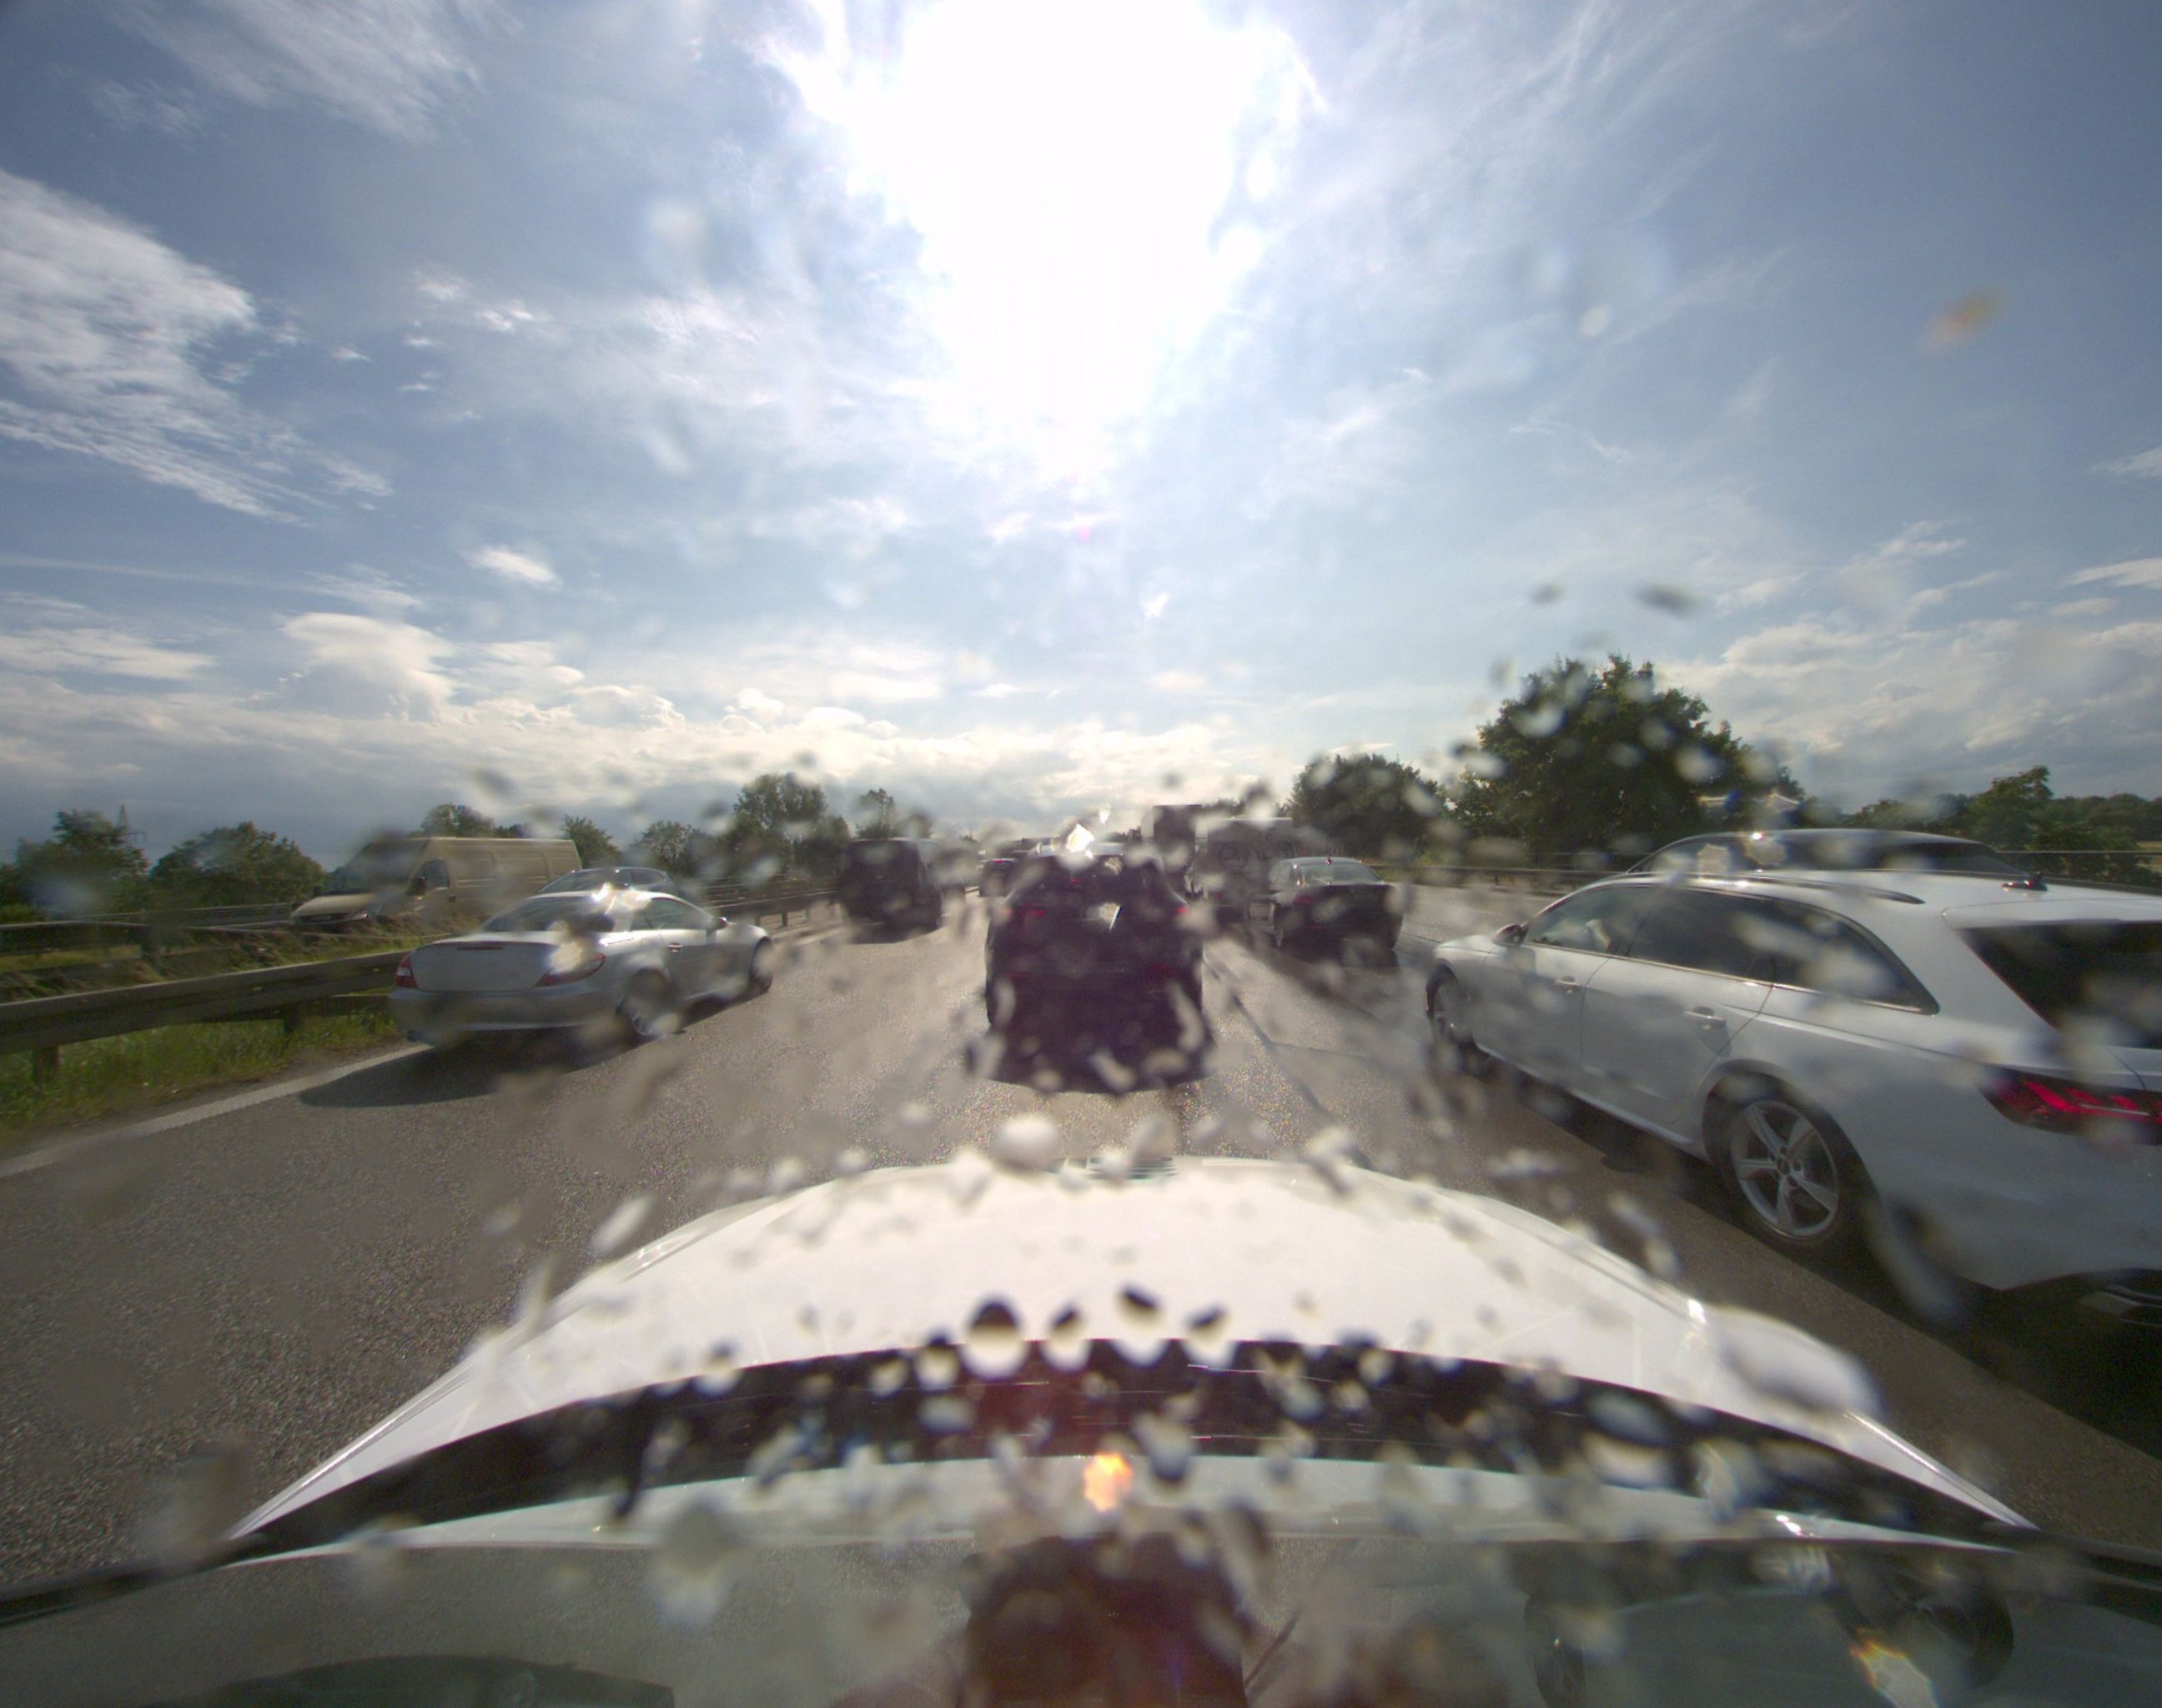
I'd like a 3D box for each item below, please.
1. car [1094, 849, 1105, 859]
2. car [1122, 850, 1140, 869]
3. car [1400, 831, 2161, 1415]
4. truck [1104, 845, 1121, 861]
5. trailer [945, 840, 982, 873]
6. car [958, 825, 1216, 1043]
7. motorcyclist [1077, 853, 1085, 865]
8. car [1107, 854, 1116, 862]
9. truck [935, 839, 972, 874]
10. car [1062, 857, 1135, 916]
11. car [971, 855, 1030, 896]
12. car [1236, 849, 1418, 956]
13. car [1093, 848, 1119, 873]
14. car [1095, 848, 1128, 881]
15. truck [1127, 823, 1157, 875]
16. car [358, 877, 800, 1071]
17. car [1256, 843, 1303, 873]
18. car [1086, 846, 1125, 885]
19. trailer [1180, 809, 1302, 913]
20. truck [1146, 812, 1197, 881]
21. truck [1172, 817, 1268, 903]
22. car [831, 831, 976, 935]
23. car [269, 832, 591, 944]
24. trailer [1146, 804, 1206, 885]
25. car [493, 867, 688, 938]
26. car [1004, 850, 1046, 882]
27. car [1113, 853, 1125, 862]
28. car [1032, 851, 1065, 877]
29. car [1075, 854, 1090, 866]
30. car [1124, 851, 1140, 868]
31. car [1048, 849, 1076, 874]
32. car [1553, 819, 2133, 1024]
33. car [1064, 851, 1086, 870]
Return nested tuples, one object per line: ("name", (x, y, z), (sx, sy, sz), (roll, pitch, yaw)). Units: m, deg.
("car", (3.408, 0.052, 152.938), (1.870, 1.760, 3.998), (-1, 0, -1))
("car", (5.505, 0.632, 90.061), (1.985, 2.013, 4.003), (0, 0, 3))
("car", (3.473, 0.732, 4.282), (1.821, 1.425, 4.509), (1, -2, 0))
("truck", (8.574, -0.236, 222.477), (3.833, 4.017, 11.212), (-1, 0, -2))
("trailer", (-15.834, 0.350, 110.705), (2.993, 4.103, 10.480), (-3, 0, 2))
("car", (0.126, 0.639, 8.576), (1.986, 1.661, 4.408), (-1, 0, 2))
("motorcyclist", (0.058, 0.725, 113.831), (1.059, 1.718, 0.786), (-1, -1, 2))
("car", (7.298, 0.899, 194.232), (1.870, 1.760, 3.998), (-1, 0, -1))
("truck", (-16.093, 0.299, 103.496), (2.993, 4.103, 7.689), (-3, 0, 2))
("car", (0.544, 0.789, 21.846), (1.750, 1.387, 3.948), (-1, 0, 3))
("car", (-3.222, 0.833, 33.482), (1.750, 1.516, 4.212), (-1, 0, 3))
("car", (3.905, 0.700, 13.727), (1.842, 1.464, 4.256), (-2, 0, 1))
("car", (2.155, 0.553, 69.573), (1.985, 2.013, 4.003), (-3, 0, 3))
("car", (2.037, 0.643, 53.624), (1.985, 2.013, 4.003), (2, 0, 3))
("truck", (5.950, -0.422, 80.124), (2.493, 4.830, 7.544), (-1, 0, 1))
("car", (-4.417, 0.948, 8.056), (1.718, 1.278, 4.065), (-1, 0, 2))
("car", (11.456, 0.229, 47.363), (1.813, 1.620, 4.366), (-1, 0, 2))
("car", (1.385, 0.602, 44.307), (1.985, 2.013, 4.003), (-1, 0, 3))
("trailer", (4.242, 0.190, 22.849), (2.365, 2.483, 6.526), (-1, 0, 2))
("truck", (5.696, -0.454, 52.146), (2.982, 4.166, 5.246), (-1, 0, 4))
("truck", (4.386, 0.187, 26.709), (2.365, 2.477, 5.758), (-1, 0, 2))
("car", (-3.876, 0.578, 18.879), (1.986, 2.013, 5.272), (-1, 0, 2))
("car", (-15.077, 0.655, 19.717), (1.986, 2.208, 6.983), (-1, 0, 2))
("trailer", (5.244, -0.459, 46.467), (2.993, 4.166, 8.546), (-1, 0, 4))
("car", (-11.322, 1.051, 19.206), (1.986, 1.460, 4.099), (0, 0, 2))
("car", (-3.059, 0.648, 45.275), (1.987, 1.720, 4.000), (-1, 0, 1))
("car", (7.136, 0.638, 152.755), (1.870, 1.760, 3.998), (-1, 0, -1))
("car", (-2.327, 0.726, 59.320), (1.985, 1.772, 4.003), (-2, 0, 3))
("car", (0.221, 0.868, 122.948), (1.985, 1.616, 4.003), (2, 0, 3))
("car", (6.566, 0.707, 105.888), (1.985, 2.013, 4.003), (2, 0, 3))
("car", (-1.613, 0.597, 69.142), (1.985, 2.013, 4.003), (2, 0, 3))
("car", (7.370, 0.533, 8.773), (1.986, 1.581, 4.655), (-1, 0, 2))
("car", (-0.597, 0.662, 85.253), (1.985, 2.013, 4.003), (0, 0, 3))
